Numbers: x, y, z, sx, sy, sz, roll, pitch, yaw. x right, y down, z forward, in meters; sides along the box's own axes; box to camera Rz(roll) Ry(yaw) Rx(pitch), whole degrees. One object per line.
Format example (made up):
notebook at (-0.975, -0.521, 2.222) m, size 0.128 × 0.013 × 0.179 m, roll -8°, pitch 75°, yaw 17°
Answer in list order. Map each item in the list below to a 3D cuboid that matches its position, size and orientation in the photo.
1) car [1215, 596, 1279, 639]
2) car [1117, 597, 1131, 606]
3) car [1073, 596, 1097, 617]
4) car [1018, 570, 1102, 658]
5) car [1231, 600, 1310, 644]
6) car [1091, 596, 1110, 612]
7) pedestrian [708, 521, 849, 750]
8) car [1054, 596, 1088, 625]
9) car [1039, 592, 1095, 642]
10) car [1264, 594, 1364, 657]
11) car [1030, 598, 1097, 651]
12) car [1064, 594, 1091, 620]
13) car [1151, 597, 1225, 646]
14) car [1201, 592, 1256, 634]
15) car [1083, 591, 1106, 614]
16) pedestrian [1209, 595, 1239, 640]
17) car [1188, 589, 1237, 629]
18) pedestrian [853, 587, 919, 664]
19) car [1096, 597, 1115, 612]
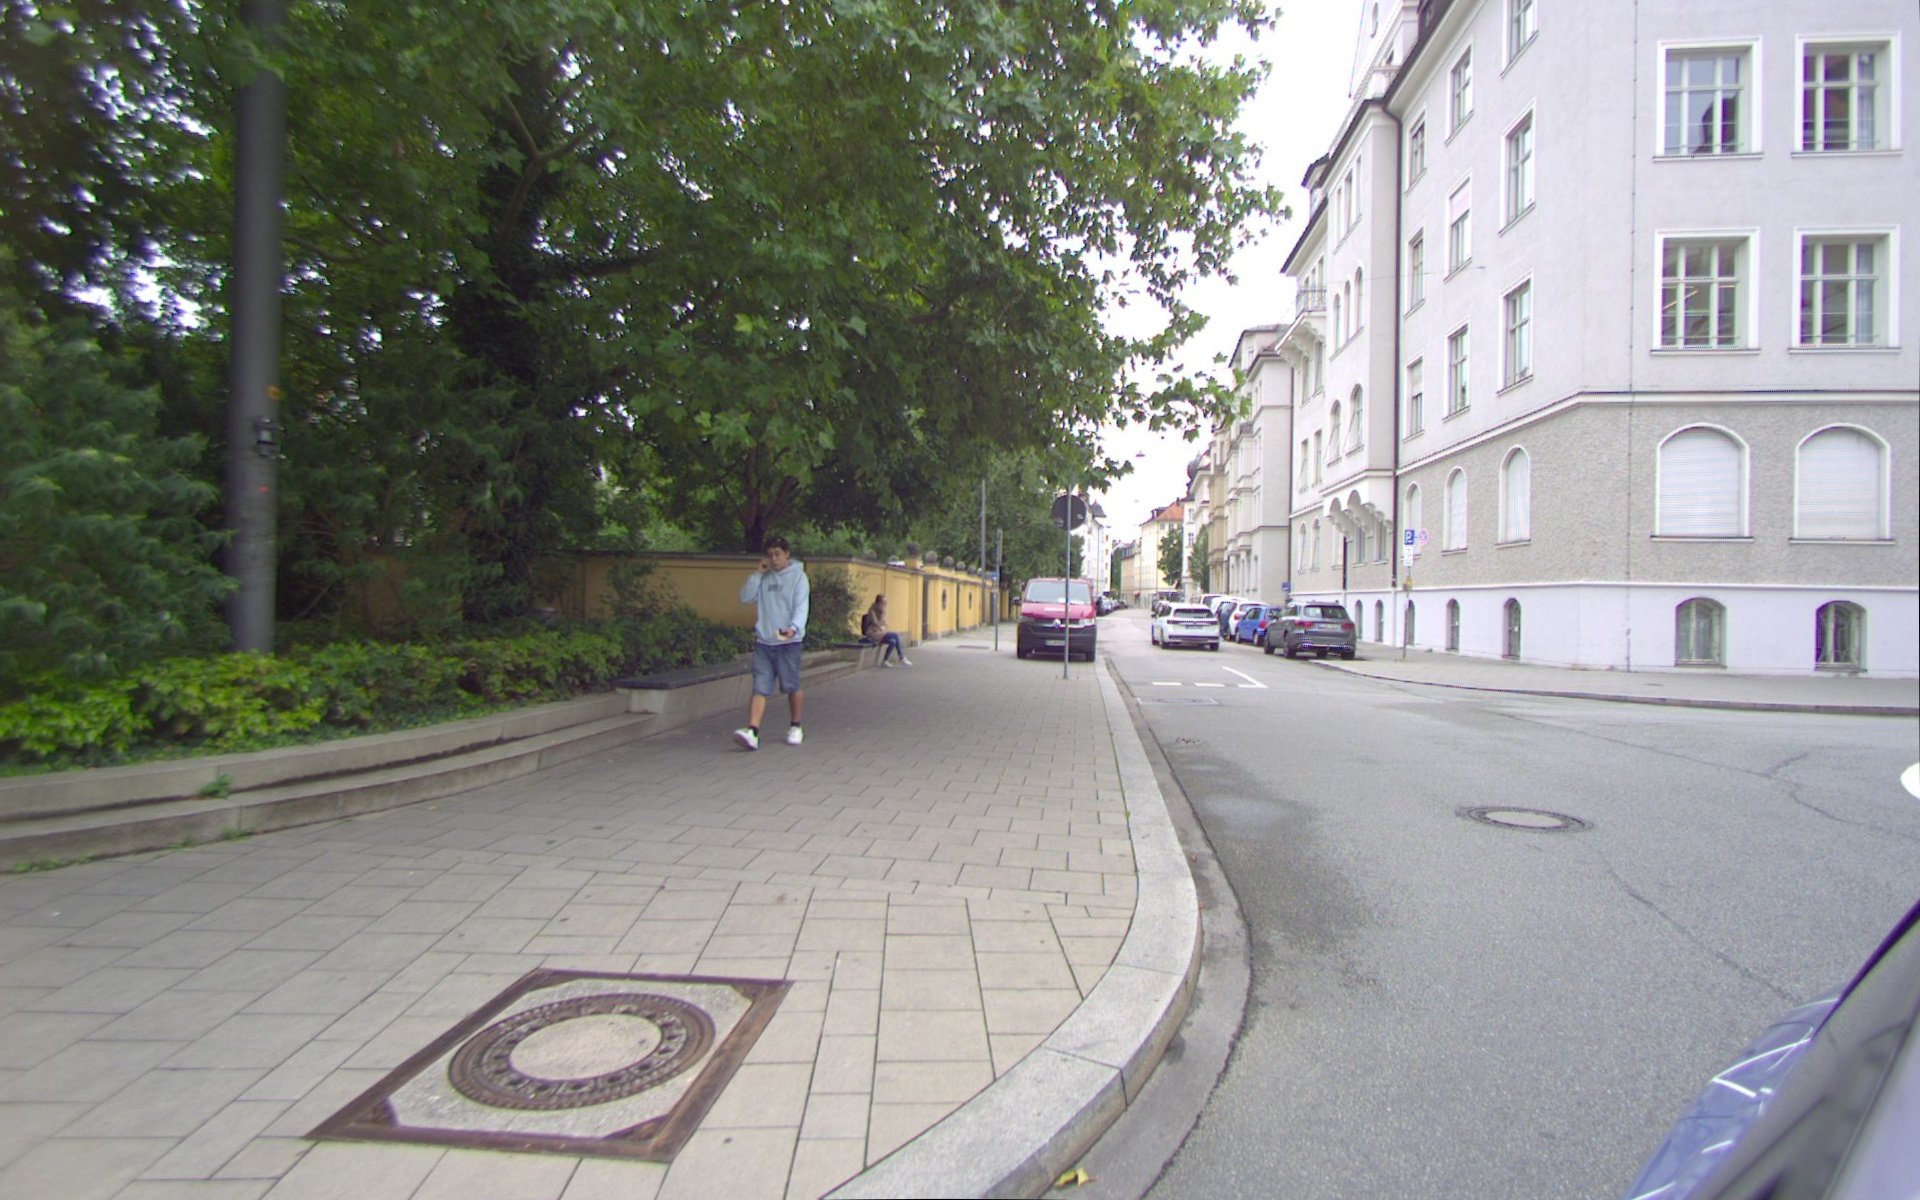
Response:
car at (11.699, 0.672, 41.530) m, size 1.722 × 1.622 × 4.488 m, roll 2°, pitch 0°, yaw 6°
car at (30.484, 0.282, 187.696) m, size 1.972 × 1.615 × 4.277 m, roll -3°, pitch -1°, yaw 16°
car at (9.329, 0.492, 75.352) m, size 1.689 × 1.471 × 4.944 m, roll 1°, pitch 0°, yaw 8°
car at (2.488, 0.320, 25.007) m, size 1.847 × 1.945 × 4.878 m, roll -1°, pitch 0°, yaw 6°
car at (11.233, 0.778, 36.846) m, size 1.665 × 1.432 × 3.663 m, roll 2°, pitch 0°, yaw 0°
car at (14.951, 0.424, 107.739) m, size 1.966 × 1.615 × 4.288 m, roll -2°, pitch -1°, yaw 8°
pedestrian at (-1.496, 0.273, 8.528) m, size 0.862 × 1.793 × 1.049 m, roll 1°, pitch 0°, yaw 9°
car at (6.071, 0.536, 54.862) m, size 1.669 × 1.432 × 4.505 m, roll 1°, pitch 0°, yaw 8°
car at (3.849, 0.588, 36.734) m, size 1.857 × 1.674 × 4.816 m, roll -1°, pitch 0°, yaw 5°
car at (10.198, 0.668, 29.507) m, size 1.722 × 1.622 × 4.488 m, roll 2°, pitch 0°, yaw 6°
car at (3.080, 0.700, 30.697) m, size 1.857 × 1.467 × 4.363 m, roll -1°, pitch 0°, yaw 5°
car at (7.694, 0.455, 66.043) m, size 1.689 × 1.590 × 4.310 m, roll 1°, pitch 0°, yaw 8°
car at (7.404, 0.655, 33.258) m, size 1.858 × 1.467 × 4.882 m, roll 0°, pitch 0°, yaw 7°
car at (12.481, 0.562, 47.269) m, size 1.723 × 1.811 × 5.026 m, roll 2°, pitch 0°, yaw 7°
car at (12.316, 0.279, 92.877) m, size 1.966 × 1.986 × 4.423 m, roll -2°, pitch -1°, yaw 8°
pedestrian at (10.626, 0.707, 40.752) m, size 0.872 × 1.778 × 0.950 m, roll 0°, pitch -1°, yaw 39°
car at (13.251, 0.456, 53.371) m, size 1.830 × 1.962 × 4.947 m, roll 2°, pitch 0°, yaw 7°
pedestrian at (-1.332, 0.456, 18.464) m, size 0.997 × 1.355 × 0.874 m, roll 1°, pitch 0°, yaw 11°
car at (17.266, 0.509, 119.682) m, size 1.969 × 1.615 × 4.283 m, roll -3°, pitch -1°, yaw 11°
